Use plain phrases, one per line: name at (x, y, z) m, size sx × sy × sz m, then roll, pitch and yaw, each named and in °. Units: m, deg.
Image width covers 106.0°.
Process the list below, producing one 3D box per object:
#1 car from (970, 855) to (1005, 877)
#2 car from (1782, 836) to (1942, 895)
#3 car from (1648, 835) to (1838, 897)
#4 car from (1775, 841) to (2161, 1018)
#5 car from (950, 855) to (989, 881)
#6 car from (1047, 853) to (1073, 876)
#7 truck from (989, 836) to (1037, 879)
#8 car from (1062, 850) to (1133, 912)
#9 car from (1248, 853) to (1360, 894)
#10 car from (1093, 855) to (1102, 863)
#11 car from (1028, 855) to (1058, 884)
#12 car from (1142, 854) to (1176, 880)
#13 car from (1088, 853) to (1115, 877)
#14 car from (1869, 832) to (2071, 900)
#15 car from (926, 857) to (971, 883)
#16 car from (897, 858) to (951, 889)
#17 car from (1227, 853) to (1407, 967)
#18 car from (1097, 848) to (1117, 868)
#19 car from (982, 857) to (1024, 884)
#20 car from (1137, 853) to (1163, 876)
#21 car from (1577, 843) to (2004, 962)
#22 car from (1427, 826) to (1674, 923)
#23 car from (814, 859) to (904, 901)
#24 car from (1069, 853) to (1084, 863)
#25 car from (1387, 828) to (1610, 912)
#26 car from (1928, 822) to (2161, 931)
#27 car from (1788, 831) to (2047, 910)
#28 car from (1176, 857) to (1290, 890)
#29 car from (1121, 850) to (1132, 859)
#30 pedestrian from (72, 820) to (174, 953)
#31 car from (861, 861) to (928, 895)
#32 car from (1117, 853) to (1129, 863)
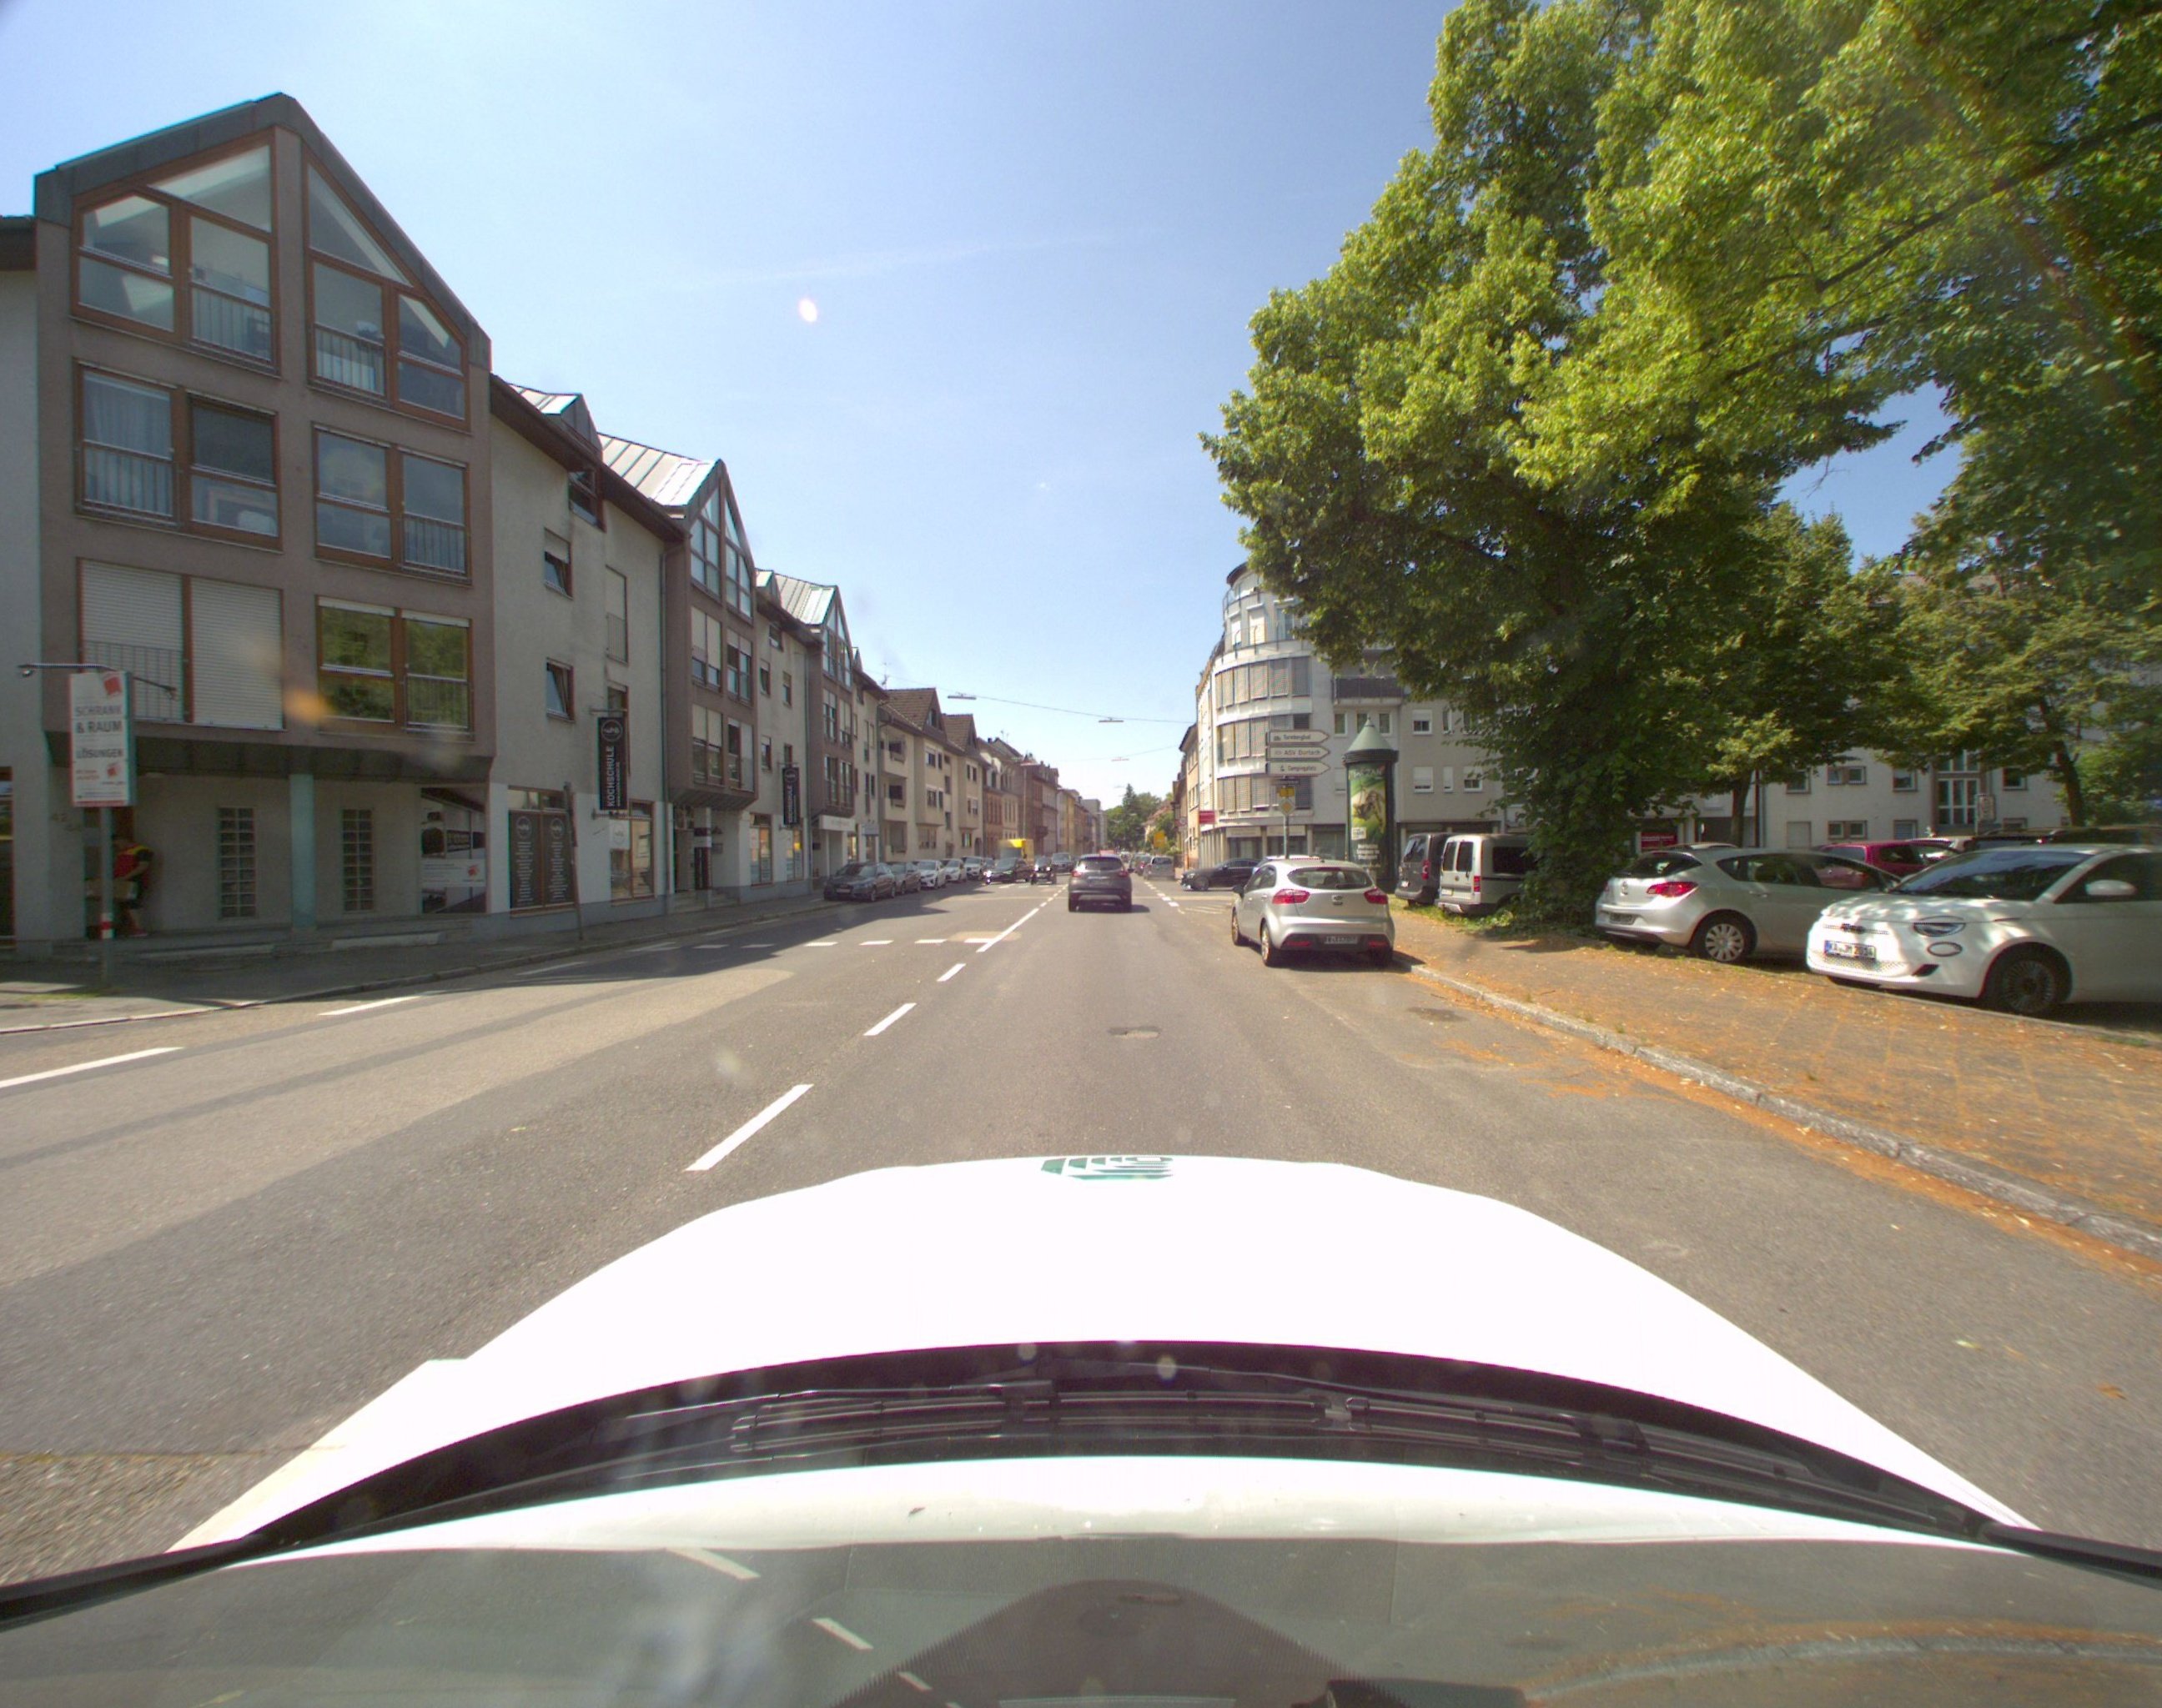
car at (-6.972, 0.878, 60.948) m, size 1.832 × 1.488 × 4.389 m, roll 1°, pitch 0°, yaw 3°
car at (22.256, 0.324, 23.281) m, size 3.053 × 1.554 × 1.591 m, roll -2°, pitch -1°, yaw -1°
car at (18.467, 0.338, 22.839) m, size 3.975 × 1.554 × 1.680 m, roll -2°, pitch -1°, yaw -1°
car at (9.191, 0.658, 7.598) m, size 3.971 × 1.428 × 1.669 m, roll 2°, pitch 0°, yaw 2°
car at (-7.413, 0.900, 54.502) m, size 1.833 × 1.596 × 4.388 m, roll 1°, pitch 0°, yaw 2°
car at (-1.523, 0.757, 60.284) m, size 1.807 × 1.620 × 4.439 m, roll -2°, pitch 0°, yaw -1°
truck at (-4.721, 0.211, 57.635) m, size 2.216 × 2.771 × 7.570 m, roll -3°, pitch 0°, yaw 3°
car at (0.385, 0.709, 23.569) m, size 1.740 × 1.616 × 3.995 m, roll 0°, pitch 0°, yaw -4°
car at (8.683, 0.769, 31.914) m, size 3.971 × 1.555 × 1.571 m, roll 0°, pitch 0°, yaw 2°
car at (3.449, 0.980, 169.217) m, size 1.898 × 1.620 × 4.303 m, roll -3°, pitch 0°, yaw 1°
car at (-2.007, 0.809, 43.155) m, size 1.493 × 1.459 × 2.720 m, roll -1°, pitch 0°, yaw -3°
car at (4.619, 0.749, 48.561) m, size 1.672 × 1.454 × 4.143 m, roll 1°, pitch 0°, yaw 0°
car at (1.545, 0.796, 61.170) m, size 1.804 × 1.620 × 4.445 m, roll -2°, pitch 0°, yaw 3°
car at (22.406, 0.301, 20.620) m, size 3.370 × 1.554 × 1.591 m, roll -2°, pitch -1°, yaw -1°
car at (-7.952, 0.938, 49.255) m, size 1.833 × 1.489 × 4.388 m, roll 1°, pitch 0°, yaw 2°
car at (-7.992, 0.964, 41.806) m, size 1.833 × 1.489 × 4.387 m, roll 1°, pitch 0°, yaw 1°
car at (3.413, 0.739, 12.522) m, size 1.760 × 1.485 × 3.893 m, roll 0°, pitch 0°, yaw 2°
car at (2.781, 0.389, 86.825) m, size 1.985 × 2.013 × 4.470 m, roll -2°, pitch 0°, yaw 3°
car at (-4.446, 0.925, 47.057) m, size 1.735 × 1.419 × 4.227 m, roll -1°, pitch 0°, yaw 3°
car at (4.850, 0.715, 57.556) m, size 1.704 × 1.473 × 4.441 m, roll -1°, pitch 0°, yaw 3°
car at (8.914, 0.572, 10.499) m, size 3.974 × 1.398 × 1.807 m, roll 0°, pitch 0°, yaw -1°
car at (8.810, 0.362, 15.475) m, size 3.755 × 1.667 × 1.662 m, roll -1°, pitch 0°, yaw -3°
car at (-8.415, 0.923, 31.380) m, size 1.832 × 1.447 × 4.972 m, roll 1°, pitch 0°, yaw 3°
car at (-0.657, 0.565, 123.826) m, size 1.830 × 1.422 × 4.565 m, roll -4°, pitch -1°, yaw 6°
car at (9.178, 0.340, 18.185) m, size 3.973 × 1.751 × 2.017 m, roll 0°, pitch 0°, yaw 0°
car at (17.376, 0.338, 13.982) m, size 3.976 × 1.679 × 1.700 m, roll -2°, pitch -1°, yaw -2°
car at (18.269, 0.356, 17.903) m, size 3.975 × 1.528 × 1.680 m, roll -2°, pitch -1°, yaw -1°
car at (6.509, 0.812, 35.261) m, size 4.567 × 1.365 × 1.999 m, roll 0°, pitch 0°, yaw -1°
car at (7.916, 0.095, 141.558) m, size 1.754 × 1.560 × 3.949 m, roll -1°, pitch 0°, yaw 6°
pedestrian at (-15.030, 0.493, 12.800) m, size 0.597 × 2.014 × 0.837 m, roll 0°, pitch 0°, yaw -6°
car at (-8.268, 1.024, 36.515) m, size 1.832 × 1.384 × 4.329 m, roll 1°, pitch 0°, yaw 2°
car at (6.937, 0.587, 134.131) m, size 1.754 × 1.560 × 3.949 m, roll -1°, pitch 0°, yaw 6°
